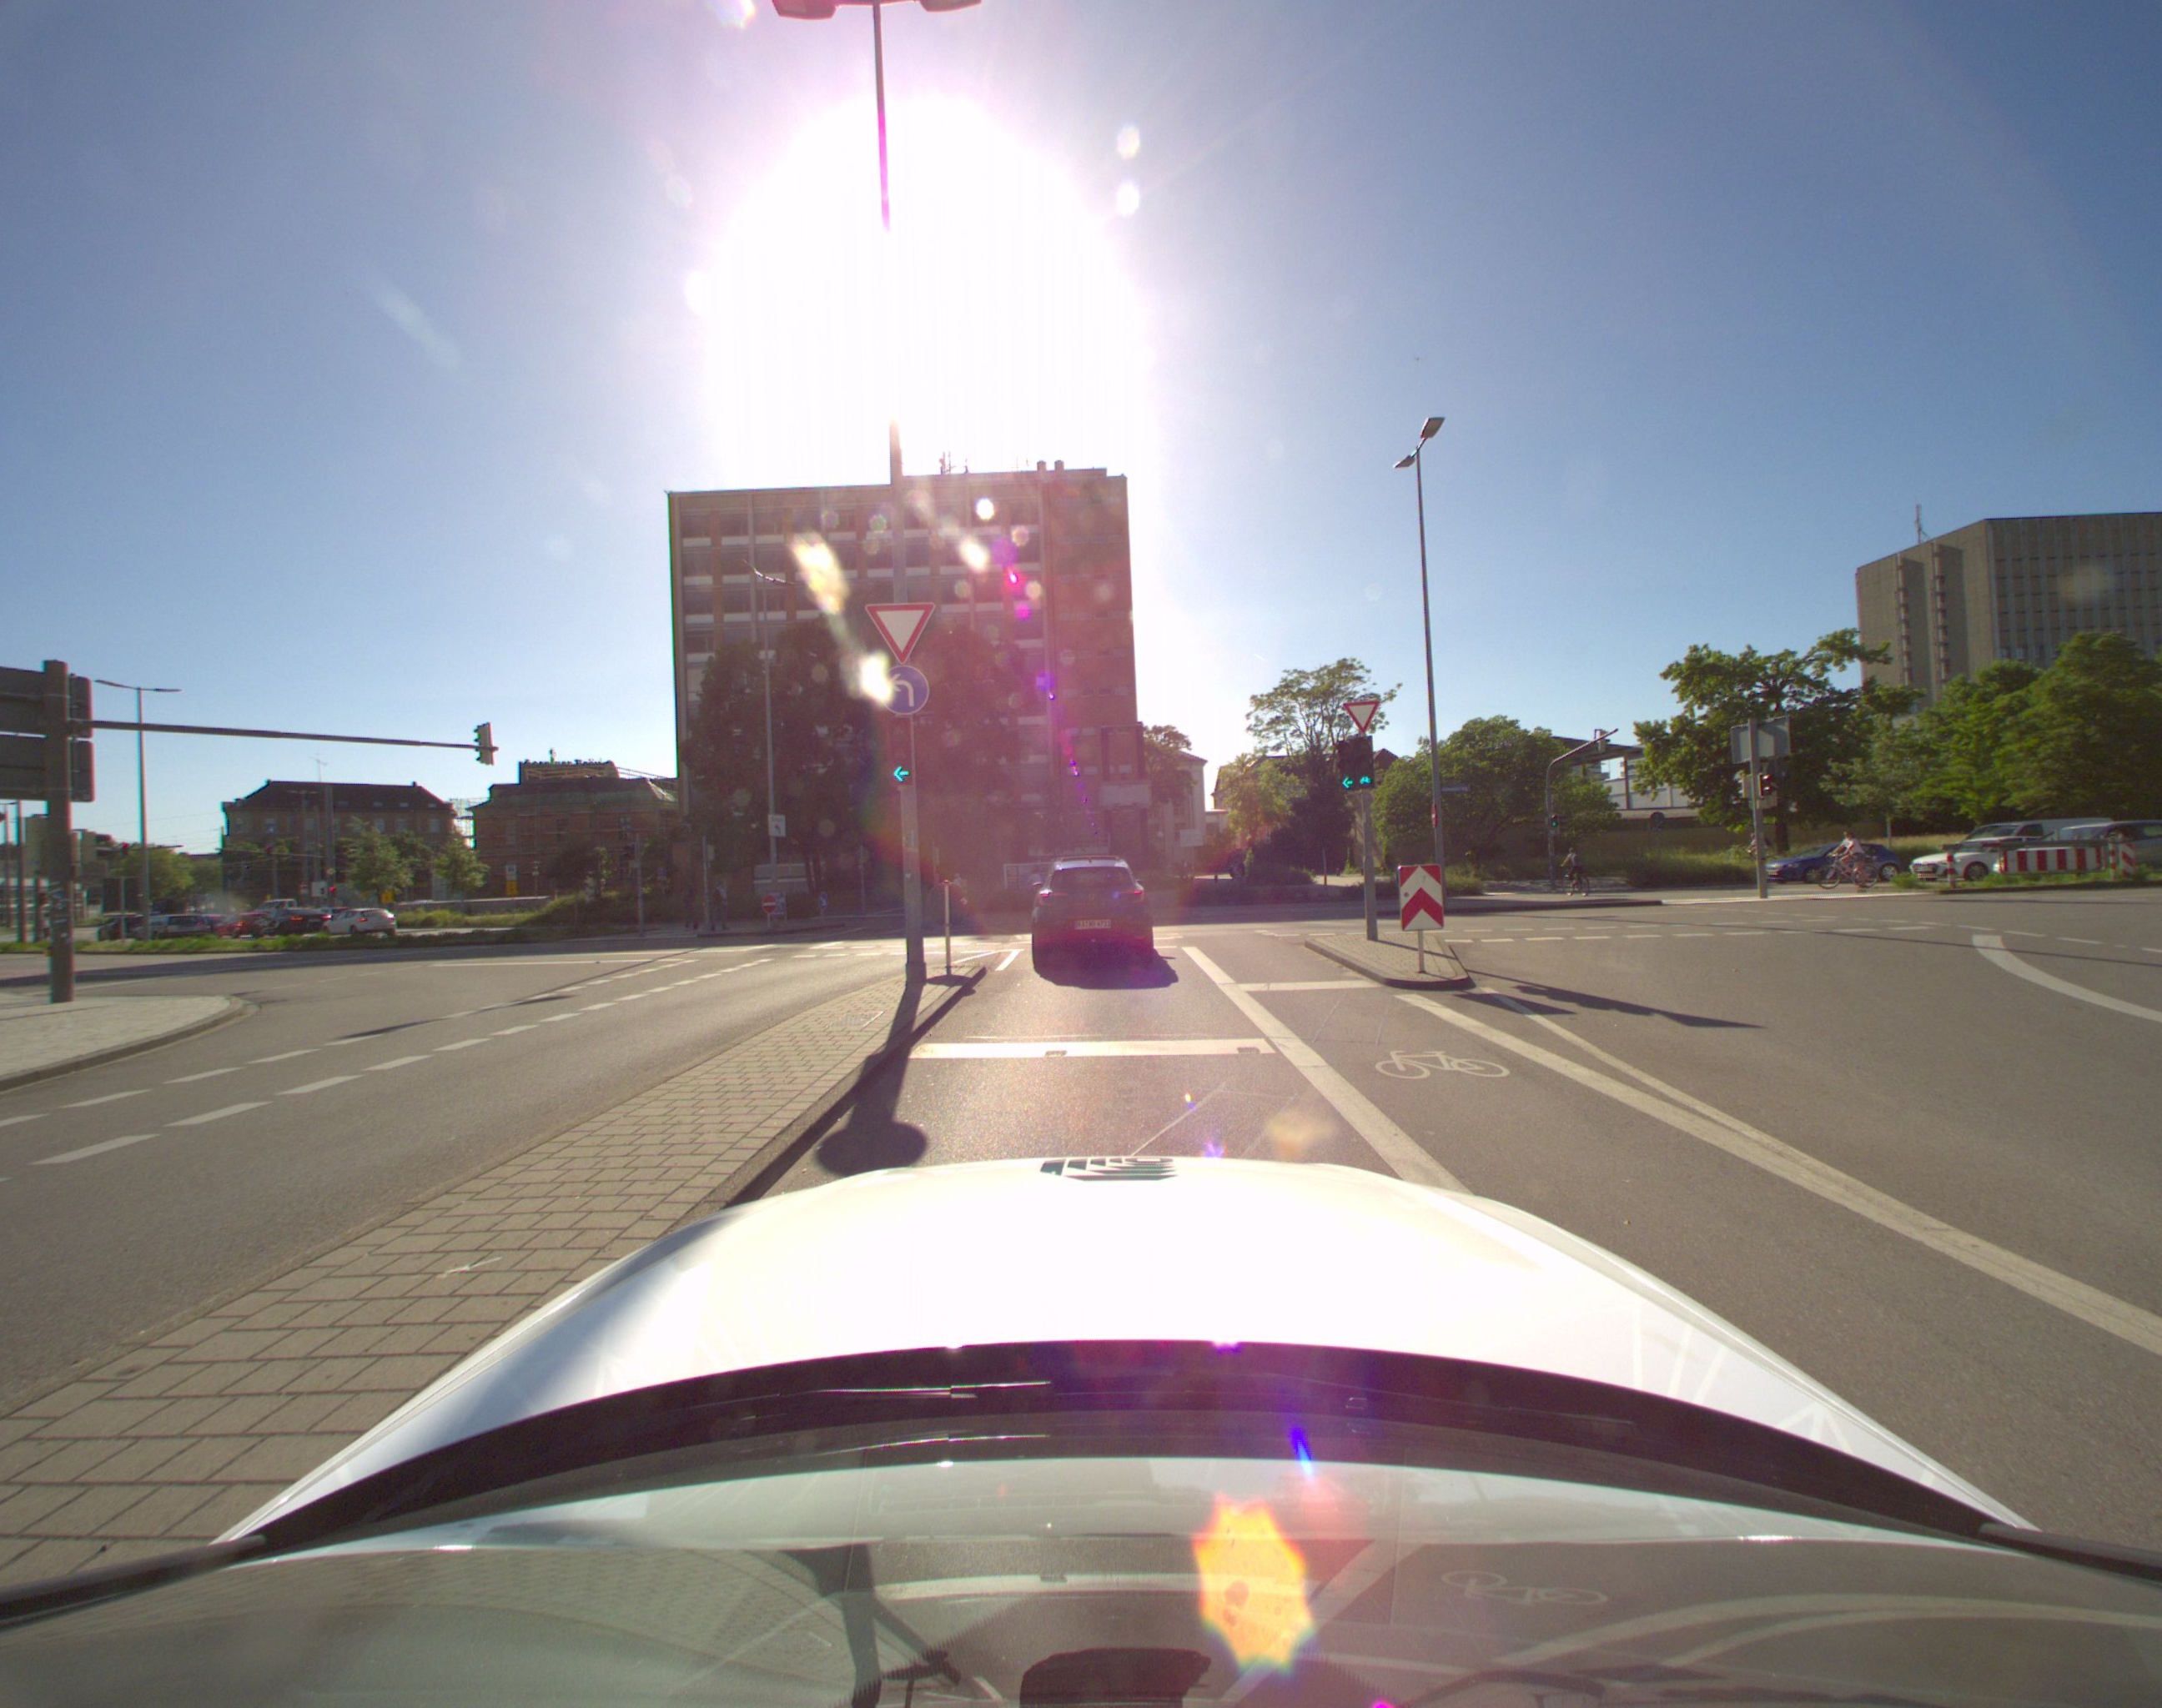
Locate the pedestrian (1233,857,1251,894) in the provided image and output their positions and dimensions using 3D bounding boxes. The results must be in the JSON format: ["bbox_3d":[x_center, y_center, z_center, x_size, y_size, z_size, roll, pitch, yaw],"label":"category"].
[{"bbox_3d":[7.802,1.023,39.427,0.727,1.782,0.735,-1,-1,18],"label":"pedestrian"}]

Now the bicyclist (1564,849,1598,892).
[{"bbox_3d":[17.557,0.562,28.611,0.638,1.444,0.777,-3,1,3],"label":"bicyclist"}]

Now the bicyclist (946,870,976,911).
[{"bbox_3d":[-5.228,1.592,35.466,0.965,1.763,0.726,-3,-1,36],"label":"bicyclist"}]

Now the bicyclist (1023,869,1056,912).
[{"bbox_3d":[-1.623,1.416,31.834,0.965,1.617,0.726,-3,-1,39],"label":"bicyclist"}]

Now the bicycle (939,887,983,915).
[{"bbox_3d":[-5.250,2.041,35.490,1.846,1.165,0.753,-3,-1,36],"label":"bicycle"}]

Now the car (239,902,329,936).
[{"bbox_3d":[-43.346,3.546,44.281,4.324,1.624,2.001,-3,-1,24],"label":"car"}]

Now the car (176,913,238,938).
[{"bbox_3d":[-54.104,4.450,50.425,3.750,1.443,1.741,-3,-4,29],"label":"car"}]

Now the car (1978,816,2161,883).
[{"bbox_3d":[27.731,-0.115,22.210,4.281,1.625,1.792,-2,-2,5],"label":"car"}]

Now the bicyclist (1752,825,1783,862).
[{"bbox_3d":[31.436,-0.486,37.280,0.827,1.595,0.631,-4,2,0],"label":"bicyclist"}]

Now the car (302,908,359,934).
[{"bbox_3d":[-50.933,4.532,55.263,3.578,1.618,1.894,-4,-3,31],"label":"car"}]

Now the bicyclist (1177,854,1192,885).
[{"bbox_3d":[6.048,0.884,47.417,0.715,1.735,0.981,-3,-1,12],"label":"bicyclist"}]

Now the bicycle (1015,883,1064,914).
[{"bbox_3d":[-1.632,1.733,31.828,1.846,1.165,0.723,-3,-1,38],"label":"bicycle"}]

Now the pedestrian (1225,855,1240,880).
[{"bbox_3d":[9.850,0.884,52.905,0.740,1.643,0.670,0,-1,-41],"label":"pedestrian"}]

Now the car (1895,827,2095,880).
[{"bbox_3d":[29.949,0.003,26.831,3.963,1.469,2.005,-3,-1,9],"label":"car"}]

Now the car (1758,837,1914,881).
[{"bbox_3d":[27.820,0.209,30.127,3.968,1.442,1.707,-2,-2,5],"label":"car"}]

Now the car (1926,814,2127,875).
[{"bbox_3d":[34.482,-0.321,29.816,4.719,1.953,1.941,-2,-2,5],"label":"car"}]

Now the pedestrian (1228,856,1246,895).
[{"bbox_3d":[7.411,0.999,38.652,0.727,1.816,0.735,-1,-1,18],"label":"pedestrian"}]

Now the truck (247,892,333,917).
[{"bbox_3d":[-88.017,5.579,90.772,2.202,2.313,6.898,-3,-1,8],"label":"truck"}]

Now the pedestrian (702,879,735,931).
[{"bbox_3d":[-13.316,1.869,29.914,0.753,1.833,1.093,-2,-2,-7],"label":"pedestrian"}]

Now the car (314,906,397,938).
[{"bbox_3d":[-36.909,3.440,41.430,3.691,1.436,1.706,-3,-1,23],"label":"car"}]

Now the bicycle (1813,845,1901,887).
[{"bbox_3d":[23.815,0.372,25.017,1.856,1.165,0.749,-4,-1,3],"label":"bicycle"}]

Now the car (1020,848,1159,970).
[{"bbox_3d":[0.166,0.785,13.319,1.870,1.617,3.798,-3,-1,1],"label":"car"}]

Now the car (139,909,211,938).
[{"bbox_3d":[-49.326,3.800,44.333,3.750,1.443,1.741,-3,-2,27],"label":"car"}]

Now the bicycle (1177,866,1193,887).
[{"bbox_3d":[6.053,1.313,47.395,0.741,1.165,1.877,-3,-1,12],"label":"bicycle"}]

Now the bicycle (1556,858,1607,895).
[{"bbox_3d":[17.573,0.775,28.639,0.638,1.165,1.872,-3,1,3],"label":"bicycle"}]

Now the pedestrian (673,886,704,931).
[{"bbox_3d":[-14.705,2.049,30.544,0.711,1.612,0.685,-3,-2,15],"label":"pedestrian"}]

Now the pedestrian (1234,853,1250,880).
[{"bbox_3d":[9.889,0.759,49.980,0.669,1.643,0.740,-1,-1,44],"label":"pedestrian"}]

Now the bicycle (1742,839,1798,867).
[{"bbox_3d":[31.528,-0.062,37.271,1.944,1.165,0.643,-4,1,0],"label":"bicycle"}]

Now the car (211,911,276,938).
[{"bbox_3d":[-48.598,4.113,47.241,3.674,1.443,1.687,-3,-4,29],"label":"car"}]

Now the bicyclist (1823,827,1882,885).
[{"bbox_3d":[23.699,0.068,25.026,0.970,1.685,0.747,-4,-1,3],"label":"bicyclist"}]

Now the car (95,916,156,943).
[{"bbox_3d":[-55.407,4.356,47.196,3.859,1.443,1.741,-4,-4,33],"label":"car"}]
